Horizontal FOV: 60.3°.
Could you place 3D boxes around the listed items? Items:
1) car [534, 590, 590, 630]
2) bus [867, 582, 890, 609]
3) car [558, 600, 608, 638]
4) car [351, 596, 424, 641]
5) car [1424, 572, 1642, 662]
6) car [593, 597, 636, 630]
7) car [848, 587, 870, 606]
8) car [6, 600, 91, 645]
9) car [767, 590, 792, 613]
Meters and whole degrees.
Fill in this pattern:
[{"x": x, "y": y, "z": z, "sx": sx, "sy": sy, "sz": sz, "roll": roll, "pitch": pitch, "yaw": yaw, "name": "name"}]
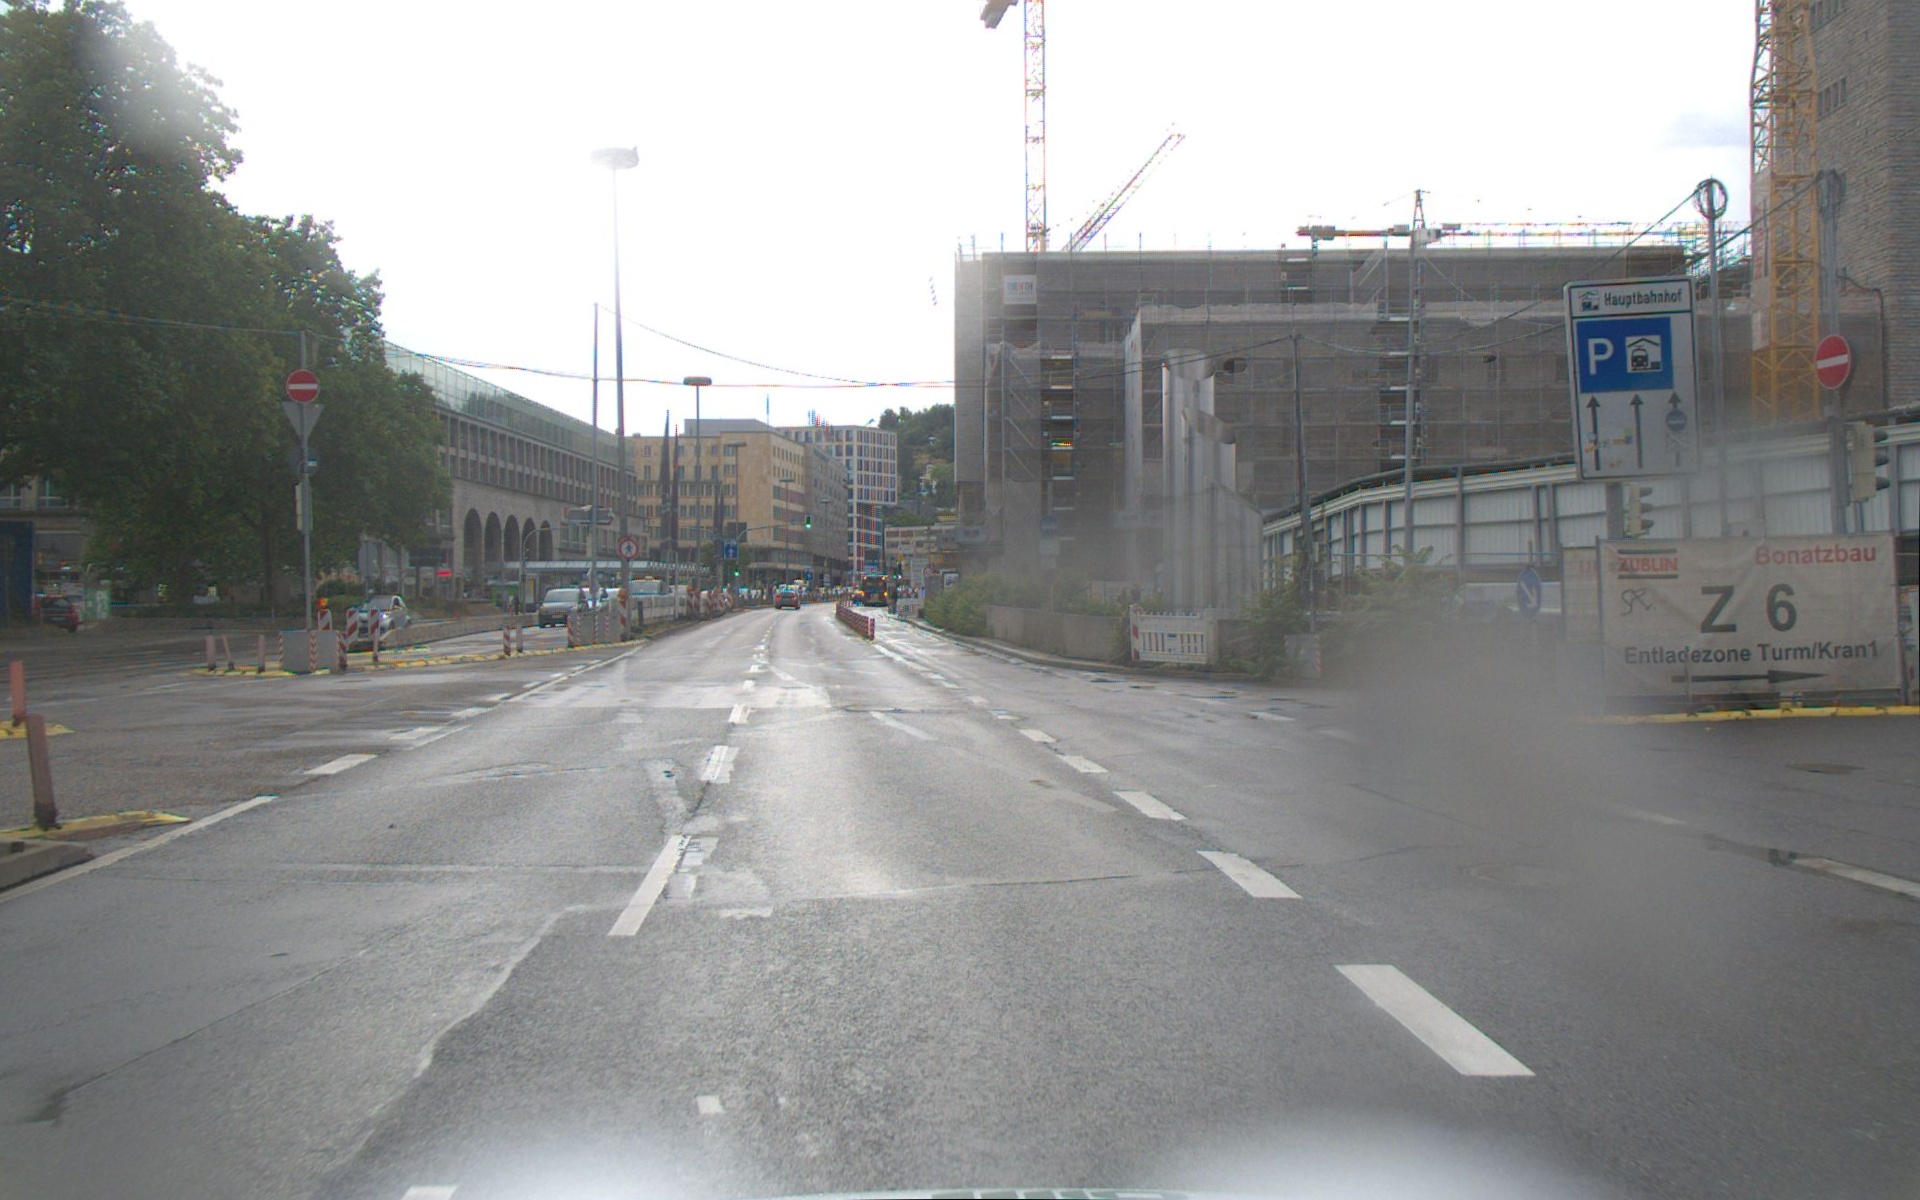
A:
[{"x": -17.344, "y": 0.459, "z": 72.205, "sx": 1.866, "sy": 1.555, "sz": 4.170, "roll": -2, "pitch": -2, "yaw": -7, "name": "car"}, {"x": -8.212, "y": -0.395, "z": 166.835, "sx": 1.953, "sy": 2.474, "sz": 3.999, "roll": -3, "pitch": -2, "yaw": 0, "name": "bus"}, {"x": -17.713, "y": 0.919, "z": 77.881, "sx": 1.866, "sy": 1.555, "sz": 4.170, "roll": -2, "pitch": -2, "yaw": -7, "name": "car"}, {"x": -22.505, "y": 0.761, "z": 65.168, "sx": 1.866, "sy": 1.555, "sz": 4.170, "roll": -2, "pitch": -2, "yaw": -7, "name": "car"}, {"x": 14.688, "y": 0.373, "z": 42.544, "sx": 4.793, "sy": 2.169, "sz": 2.339, "roll": 1, "pitch": 1, "yaw": 43, "name": "car"}, {"x": -18.213, "y": 0.732, "z": 87.372, "sx": 1.866, "sy": 1.555, "sz": 4.170, "roll": -2, "pitch": -2, "yaw": -7, "name": "car"}, {"x": -11.767, "y": -0.408, "z": 192.315, "sx": 1.952, "sy": 2.049, "sz": 4.002, "roll": -3, "pitch": -2, "yaw": 4, "name": "car"}, {"x": -35.831, "y": 0.887, "z": 64.988, "sx": 3.937, "sy": 1.555, "sz": 1.895, "roll": -5, "pitch": -3, "yaw": 44, "name": "car"}, {"x": -14.390, "y": 0.111, "z": 131.503, "sx": 1.866, "sy": 1.555, "sz": 4.170, "roll": -2, "pitch": -2, "yaw": -7, "name": "car"}]
